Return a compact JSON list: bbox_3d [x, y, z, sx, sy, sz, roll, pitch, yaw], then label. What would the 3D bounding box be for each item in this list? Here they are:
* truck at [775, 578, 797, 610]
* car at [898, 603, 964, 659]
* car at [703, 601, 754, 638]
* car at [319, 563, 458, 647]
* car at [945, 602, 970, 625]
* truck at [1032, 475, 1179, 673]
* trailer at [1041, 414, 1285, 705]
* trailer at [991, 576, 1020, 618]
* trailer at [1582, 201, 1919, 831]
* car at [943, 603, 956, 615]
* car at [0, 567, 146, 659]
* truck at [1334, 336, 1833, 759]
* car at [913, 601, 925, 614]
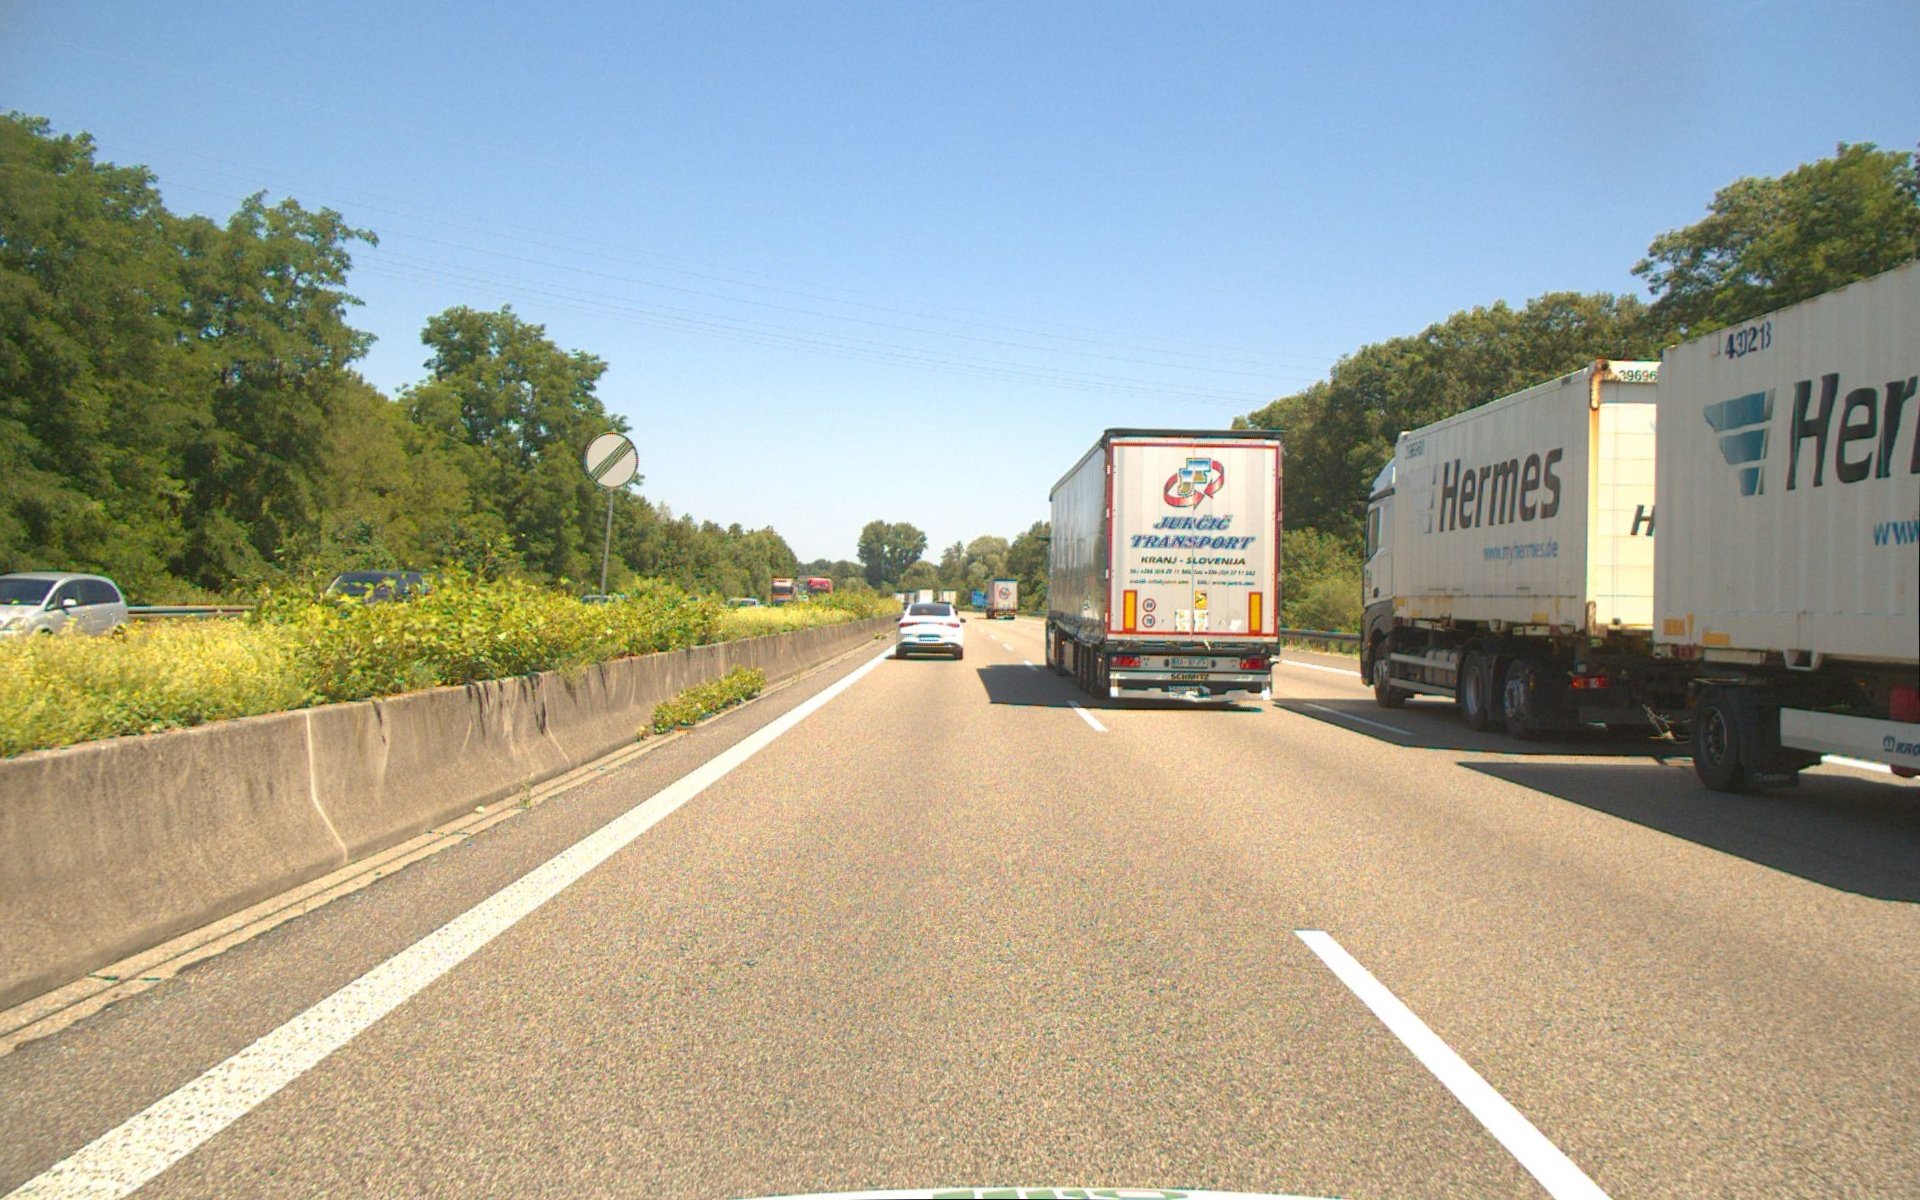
[{"bbox_3d":[-20.042,-0.701,190.653,2.309,3.664,4.162,1,0,-2],"label":"truck"},{"bbox_3d":[-0.760,0.802,44.255,1.680,1.393,3.374,1,0,-1],"label":"car"},{"bbox_3d":[-10.700,0.877,76.613,1.954,1.624,3.998,1,0,-3],"label":"car"},{"bbox_3d":[-13.801,0.121,40.259,1.662,1.876,4.888,1,0,0],"label":"car"},{"bbox_3d":[-0.241,1.054,133.559,1.953,1.803,4.000,1,0,-1],"label":"car"},{"bbox_3d":[3.145,-0.528,37.372,2.667,4.044,6.500,1,0,0],"label":"truck"},{"bbox_3d":[3.186,-0.550,30.053,2.684,4.044,13.653,1,0,0],"label":"trailer"},{"bbox_3d":[4.869,-0.266,180.341,2.571,4.335,14.058,1,0,-1],"label":"trailer"},{"bbox_3d":[7.532,-0.538,10.898,2.503,4.130,11.261,1,0,-1],"label":"trailer"},{"bbox_3d":[-1.460,1.190,225.364,1.689,1.613,3.999,1,0,-2],"label":"car"},{"bbox_3d":[-16.846,0.220,30.648,1.538,1.582,4.081,1,0,-1],"label":"car"},{"bbox_3d":[7.475,-0.509,21.940,2.475,4.202,10.667,1,0,-1],"label":"truck"},{"bbox_3d":[-5.715,1.035,230.848,1.689,1.814,3.999,1,0,-2],"label":"car"}]
